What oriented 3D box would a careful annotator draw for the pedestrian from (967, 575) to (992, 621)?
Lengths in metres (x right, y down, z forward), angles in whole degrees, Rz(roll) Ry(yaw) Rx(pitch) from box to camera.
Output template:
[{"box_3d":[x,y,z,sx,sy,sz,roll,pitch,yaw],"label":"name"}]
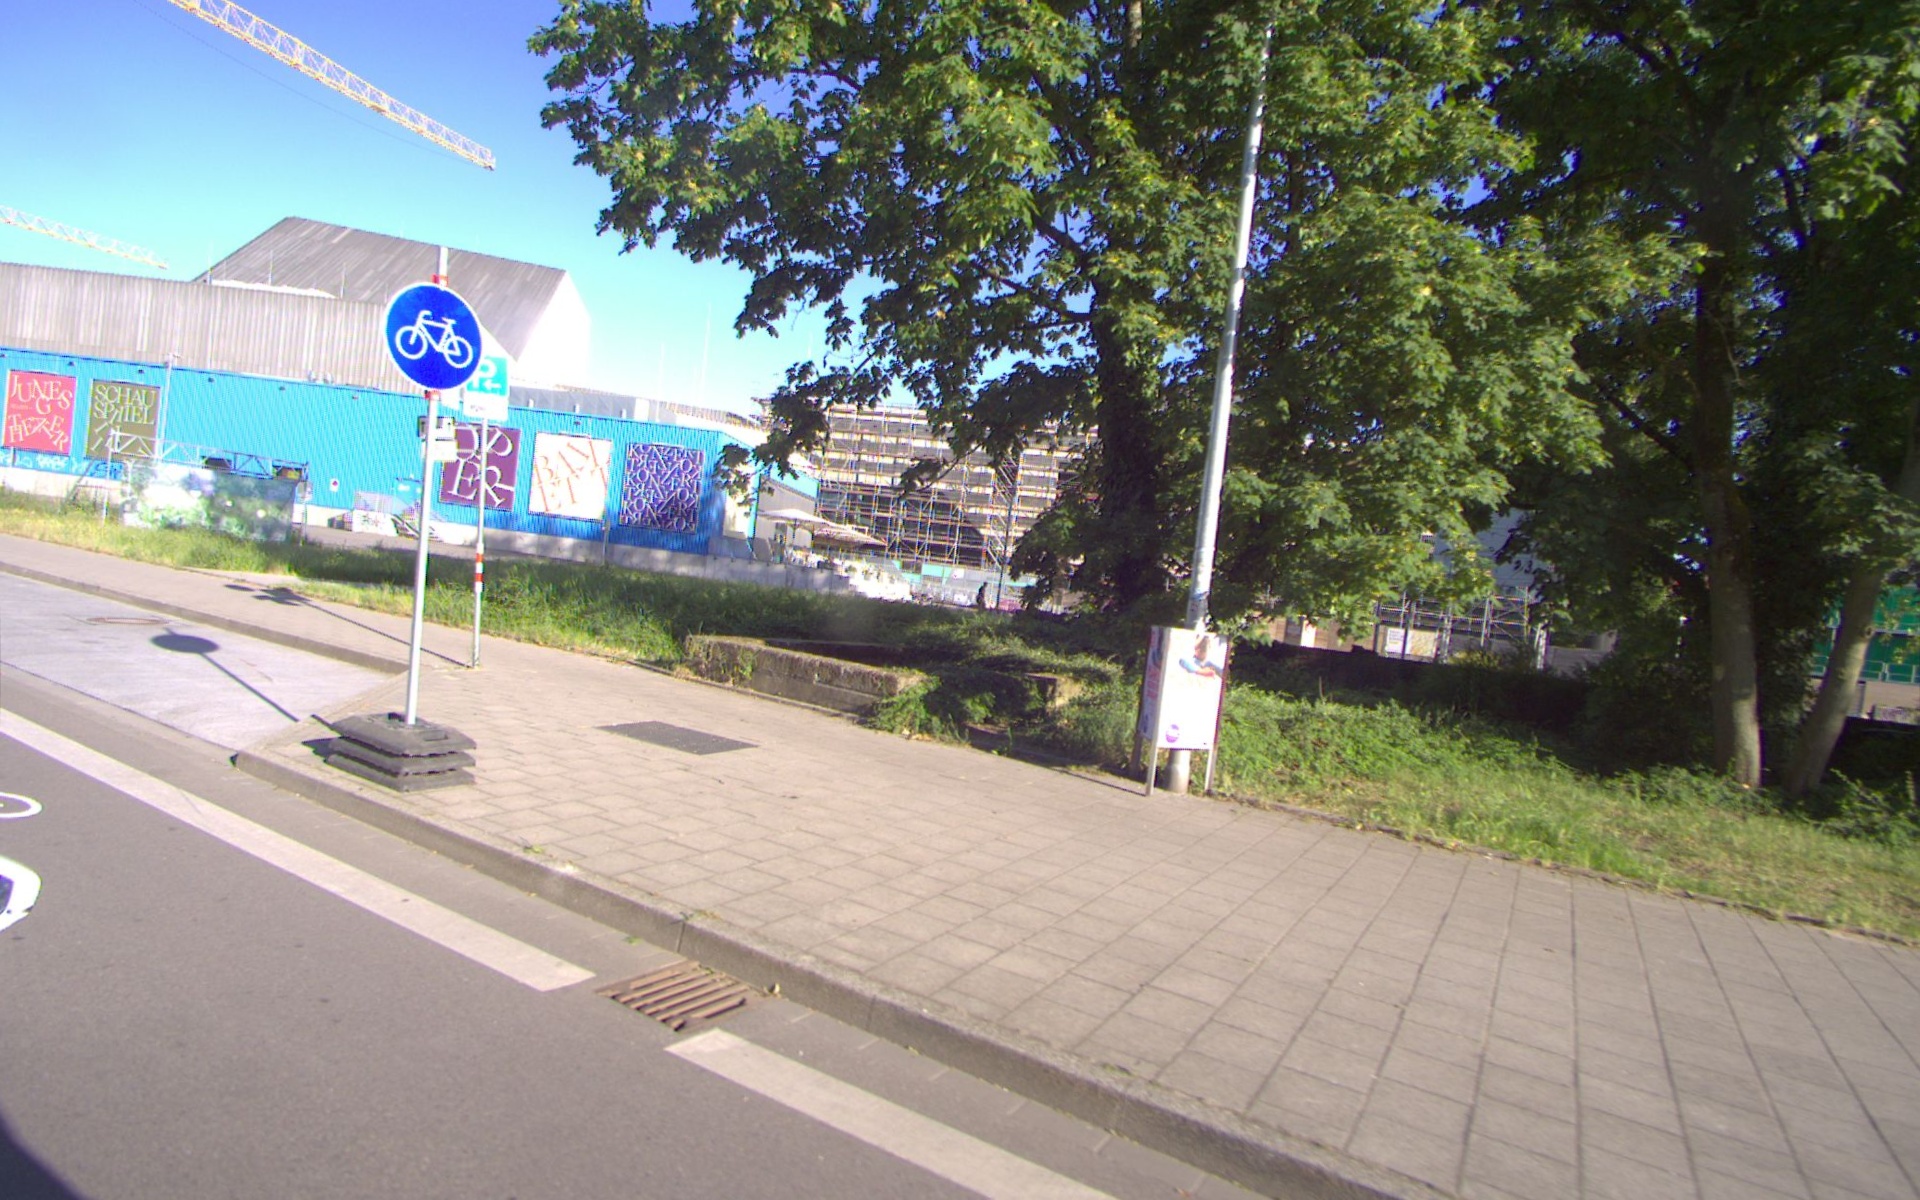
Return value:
[{"box_3d":[0.932,-0.099,46.920,0.932,2.039,0.913,5,1,4],"label":"pedestrian"}]
